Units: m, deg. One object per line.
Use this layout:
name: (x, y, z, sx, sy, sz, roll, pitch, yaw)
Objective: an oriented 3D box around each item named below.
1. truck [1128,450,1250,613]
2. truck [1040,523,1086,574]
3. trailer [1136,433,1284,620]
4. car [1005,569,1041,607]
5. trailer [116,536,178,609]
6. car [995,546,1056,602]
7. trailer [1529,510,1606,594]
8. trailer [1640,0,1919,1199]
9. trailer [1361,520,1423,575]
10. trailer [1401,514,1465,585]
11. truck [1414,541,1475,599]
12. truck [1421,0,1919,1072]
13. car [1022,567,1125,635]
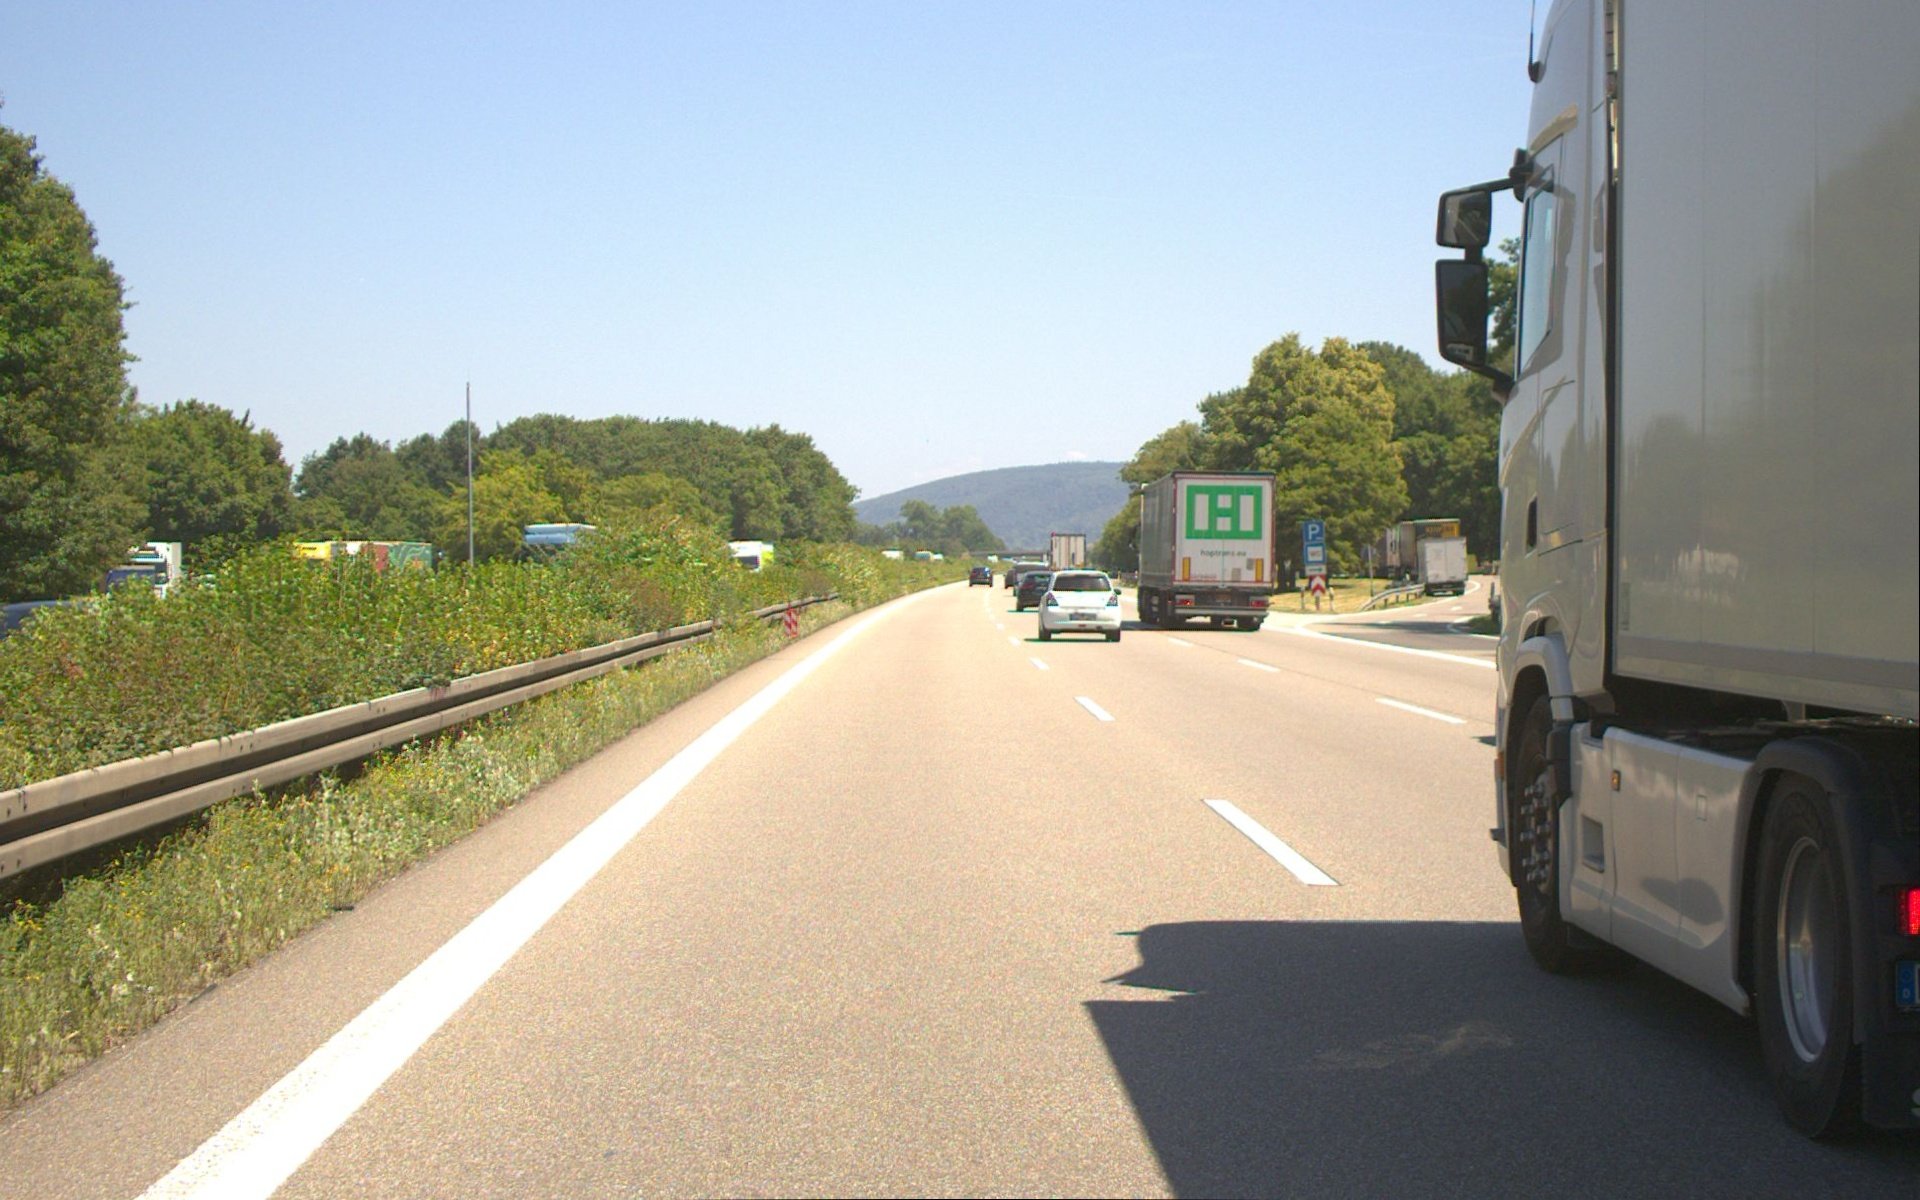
truck: (6.617, -1.964, 99.989, 3.182, 4.591, 5.947, 0, 0, 1)
truck: (7.866, -3.916, 262.896, 3.325, 3.744, 12.795, 1, 1, 2)
trailer: (6.490, -1.881, 91.174, 3.182, 4.612, 12.050, 0, 1, 1)
car: (3.463, -0.671, 189.656, 1.882, 2.007, 4.000, 0, 1, -1)
trailer: (-46.090, -1.564, 195.163, 2.609, 3.957, 12.608, -1, 1, -10)
car: (2.310, -0.916, 120.349, 1.897, 1.886, 3.999, -1, 0, 4)
trailer: (29.425, -2.292, 166.206, 2.981, 3.865, 12.881, 0, 0, 13)
trailer: (3.760, -0.612, 4.169, 3.223, 4.129, 12.352, 0, 1, -1)
trailer: (31.804, -3.836, 253.654, 3.135, 3.939, 14.196, -1, 1, 2)
trailer: (27.080, -2.850, 196.400, 3.185, 3.921, 11.545, 0, 0, 10)
truck: (25.126, -1.550, 178.555, 2.468, 2.936, 7.658, 0, 0, 3)
truck: (3.611, -0.736, 12.298, 3.228, 4.143, 4.560, 0, 1, -1)
car: (2.418, 0.011, 73.985, 1.811, 1.400, 3.318, 0, 1, -5)
